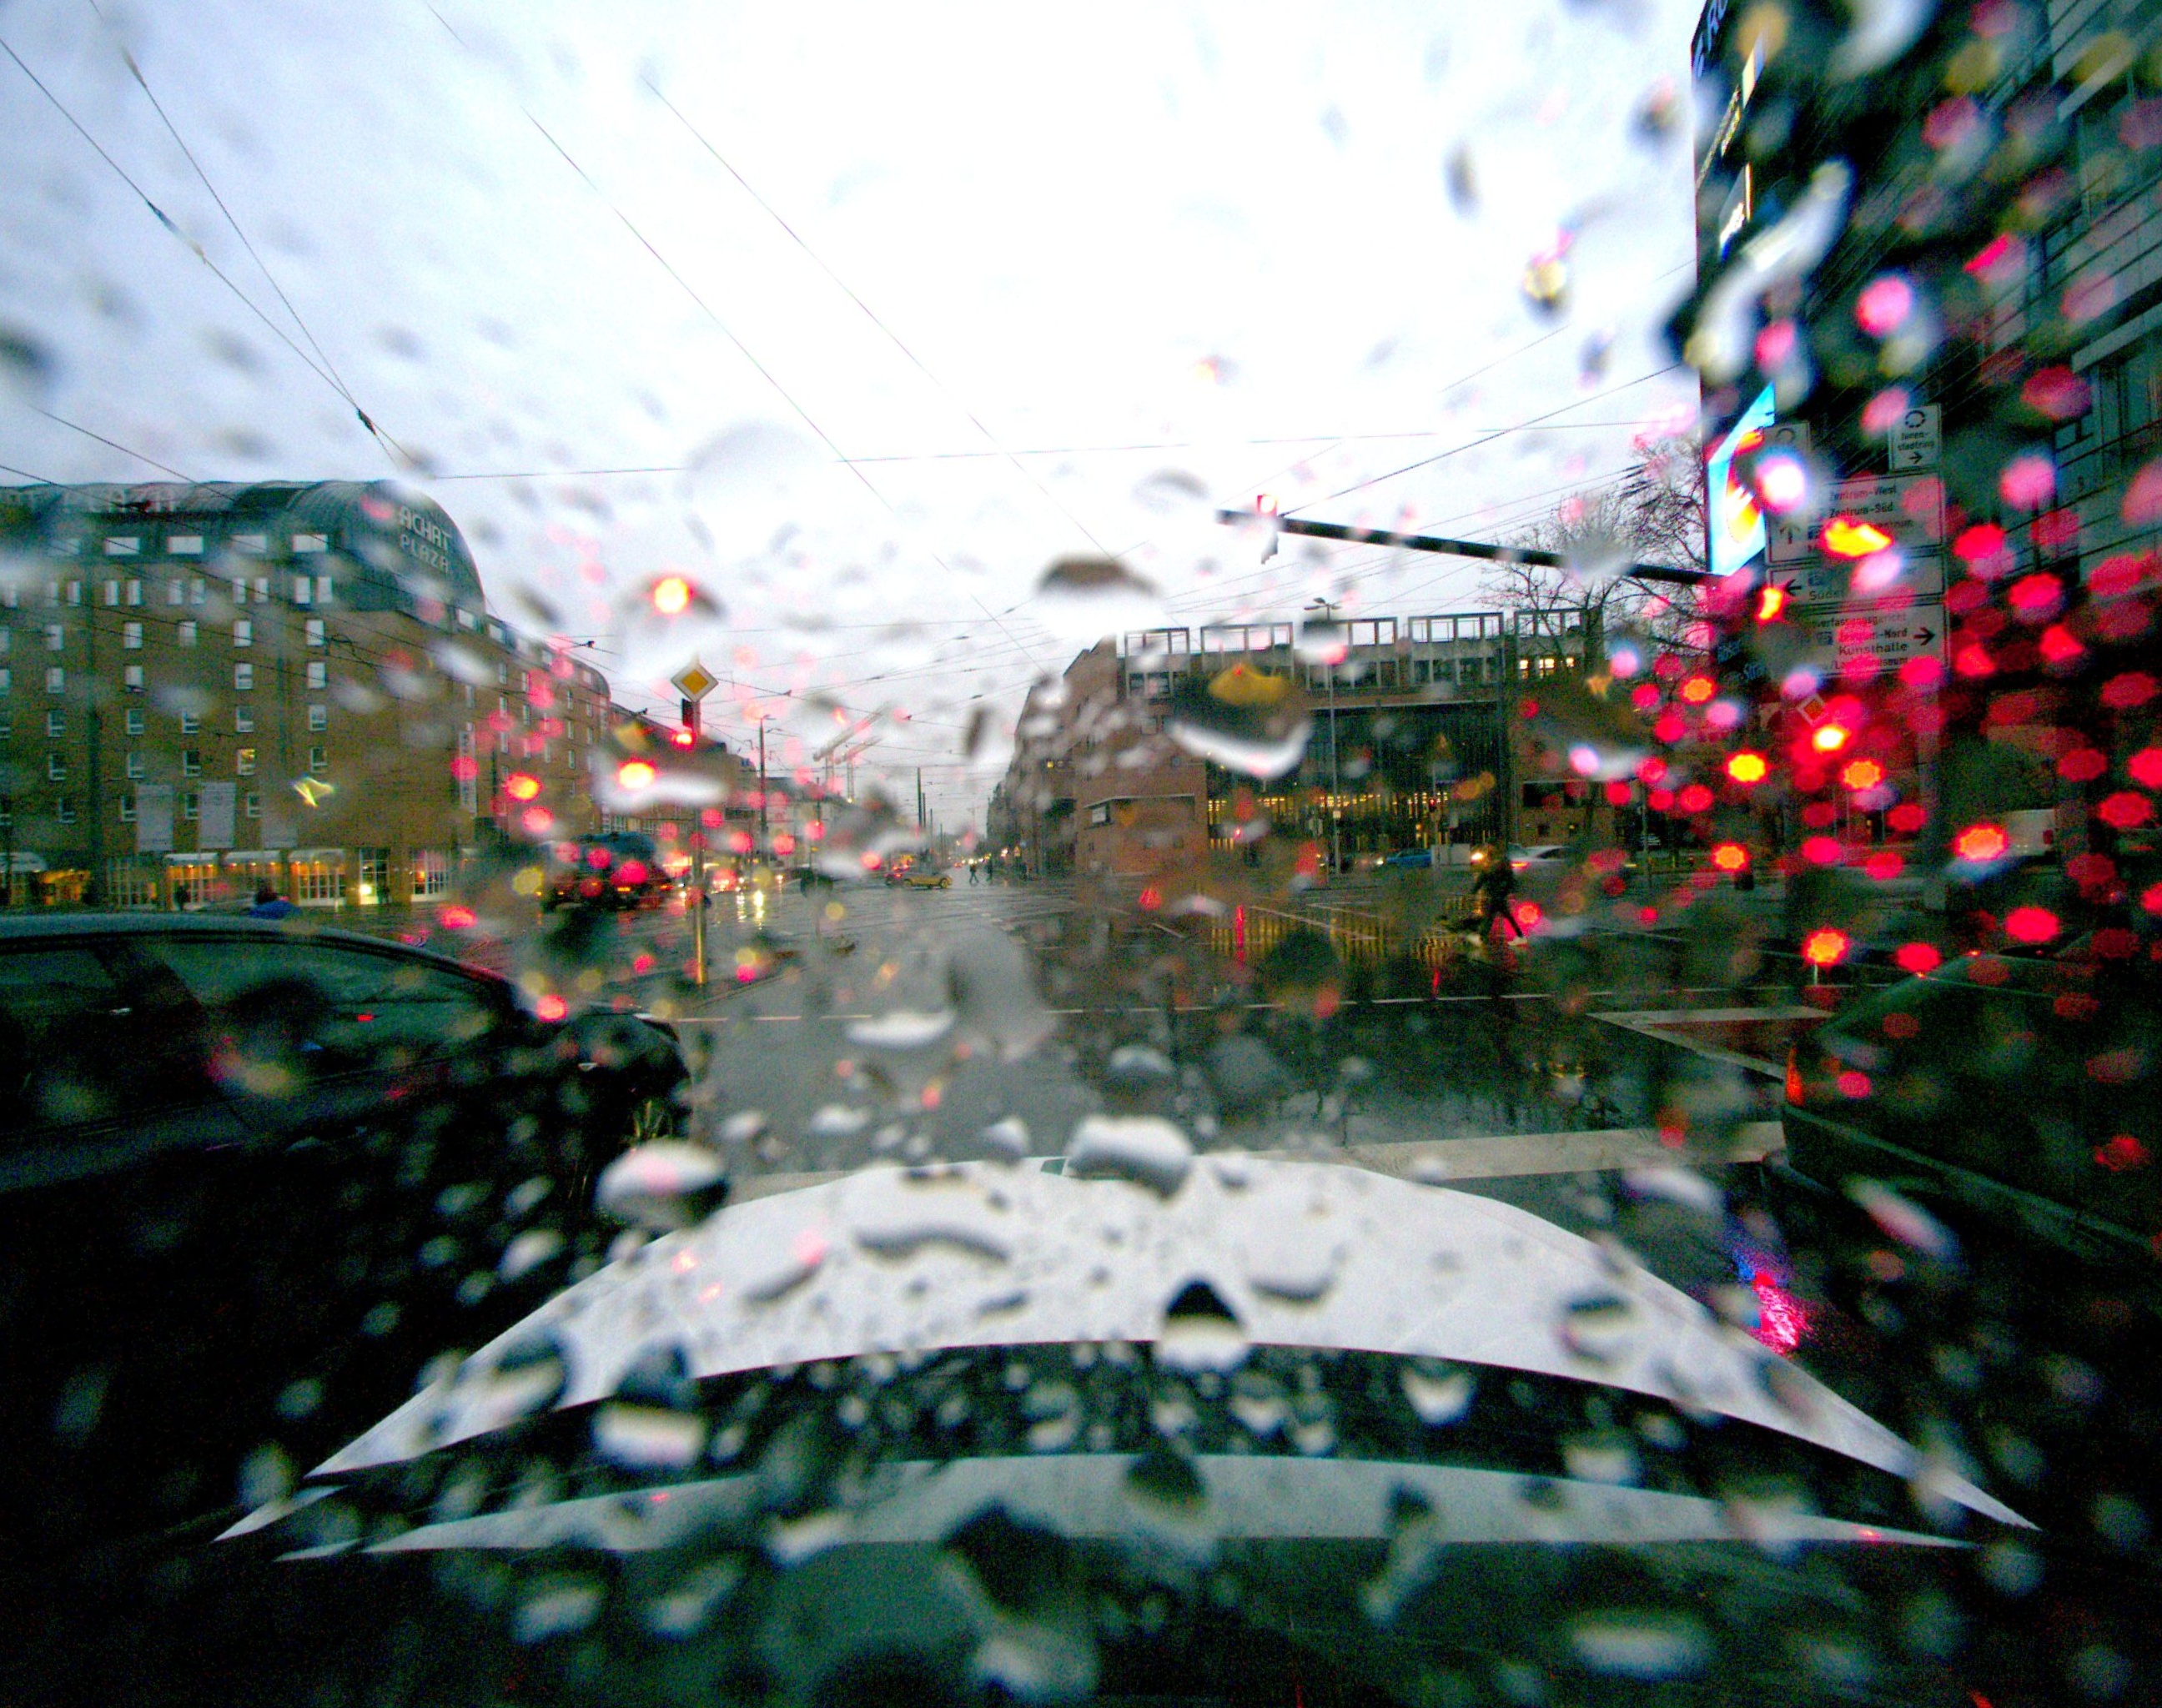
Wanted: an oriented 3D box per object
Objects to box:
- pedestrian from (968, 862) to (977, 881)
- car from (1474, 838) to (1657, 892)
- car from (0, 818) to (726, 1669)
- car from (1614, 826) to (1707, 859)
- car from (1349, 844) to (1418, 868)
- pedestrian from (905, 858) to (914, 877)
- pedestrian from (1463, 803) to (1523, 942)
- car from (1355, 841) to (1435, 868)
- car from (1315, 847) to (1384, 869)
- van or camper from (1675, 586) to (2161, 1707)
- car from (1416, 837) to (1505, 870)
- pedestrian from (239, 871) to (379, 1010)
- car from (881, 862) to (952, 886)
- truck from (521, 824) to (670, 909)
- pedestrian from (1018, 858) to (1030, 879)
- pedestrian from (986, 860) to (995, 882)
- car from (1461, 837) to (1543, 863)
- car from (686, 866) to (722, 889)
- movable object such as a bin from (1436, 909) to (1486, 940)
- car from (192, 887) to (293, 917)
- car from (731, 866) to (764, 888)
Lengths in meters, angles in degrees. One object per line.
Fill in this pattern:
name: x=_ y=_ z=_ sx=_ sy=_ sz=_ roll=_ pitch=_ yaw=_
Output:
pedestrian: x=-8.840 y=1.416 z=66.456 sx=0.700 sy=1.484 sz=0.574 roll=-2 pitch=0 yaw=-9
car: x=16.544 y=0.358 z=28.000 sx=4.976 sy=1.607 sz=2.251 roll=-2 pitch=0 yaw=-3
car: x=-2.737 y=0.746 z=2.176 sx=1.623 sy=1.523 sz=3.944 roll=-3 pitch=-1 yaw=3
car: x=32.248 y=-0.657 z=45.350 sx=3.979 sy=1.600 sz=1.845 roll=-2 pitch=4 yaw=-4
car: x=19.146 y=0.119 z=51.616 sx=3.713 sy=1.263 sz=1.845 roll=-2 pitch=4 yaw=-4
pedestrian: x=-15.911 y=1.232 z=75.534 sx=0.694 sy=1.724 sz=0.762 roll=-2 pitch=0 yaw=-13
pedestrian: x=6.641 y=0.298 z=13.146 sx=0.574 sy=2.184 sz=0.619 roll=-1 pitch=-1 yaw=-4
car: x=18.313 y=0.014 z=47.547 sx=3.979 sy=1.263 sz=1.845 roll=-2 pitch=4 yaw=-4
car: x=18.248 y=0.291 z=55.466 sx=3.977 sy=1.310 sz=1.998 roll=-2 pitch=0 yaw=-2
van or camper: x=2.671 y=0.492 z=0.322 sx=1.750 sy=1.906 sz=4.420 roll=-1 pitch=0 yaw=2
car: x=20.433 y=-0.059 z=43.914 sx=3.979 sy=1.504 sz=1.845 roll=-2 pitch=4 yaw=-4
pedestrian: x=-9.667 y=1.057 z=10.223 sx=0.707 sy=1.601 sz=1.043 roll=-4 pitch=-1 yaw=26
car: x=-10.202 y=1.242 z=50.604 sx=4.018 sy=1.441 sz=1.695 roll=0 pitch=-1 yaw=-37
truck: x=-22.614 y=0.624 z=37.809 sx=7.429 sy=3.633 sz=2.867 roll=-2 pitch=0 yaw=33
pedestrian: x=-4.586 y=1.178 z=65.749 sx=0.843 sy=1.687 sz=0.647 roll=-2 pitch=0 yaw=-9
pedestrian: x=-7.285 y=1.337 z=65.364 sx=0.665 sy=1.725 sz=0.487 roll=-2 pitch=0 yaw=-9
car: x=24.820 y=-0.257 z=48.099 sx=3.979 sy=1.288 sz=1.845 roll=-2 pitch=4 yaw=-4
car: x=-33.007 y=1.995 z=71.364 sx=1.995 sy=1.861 sz=3.983 roll=-2 pitch=0 yaw=-12
movable object such as a bin: x=6.354 y=1.177 z=13.619 sx=0.676 sy=0.469 sz=0.312 roll=-1 pitch=-1 yaw=-4
car: x=-43.826 y=2.515 z=42.588 sx=3.962 sy=1.448 sz=1.716 roll=-1 pitch=0 yaw=9
car: x=-29.365 y=1.995 z=71.869 sx=1.995 sy=1.861 sz=3.983 roll=-2 pitch=0 yaw=-12
